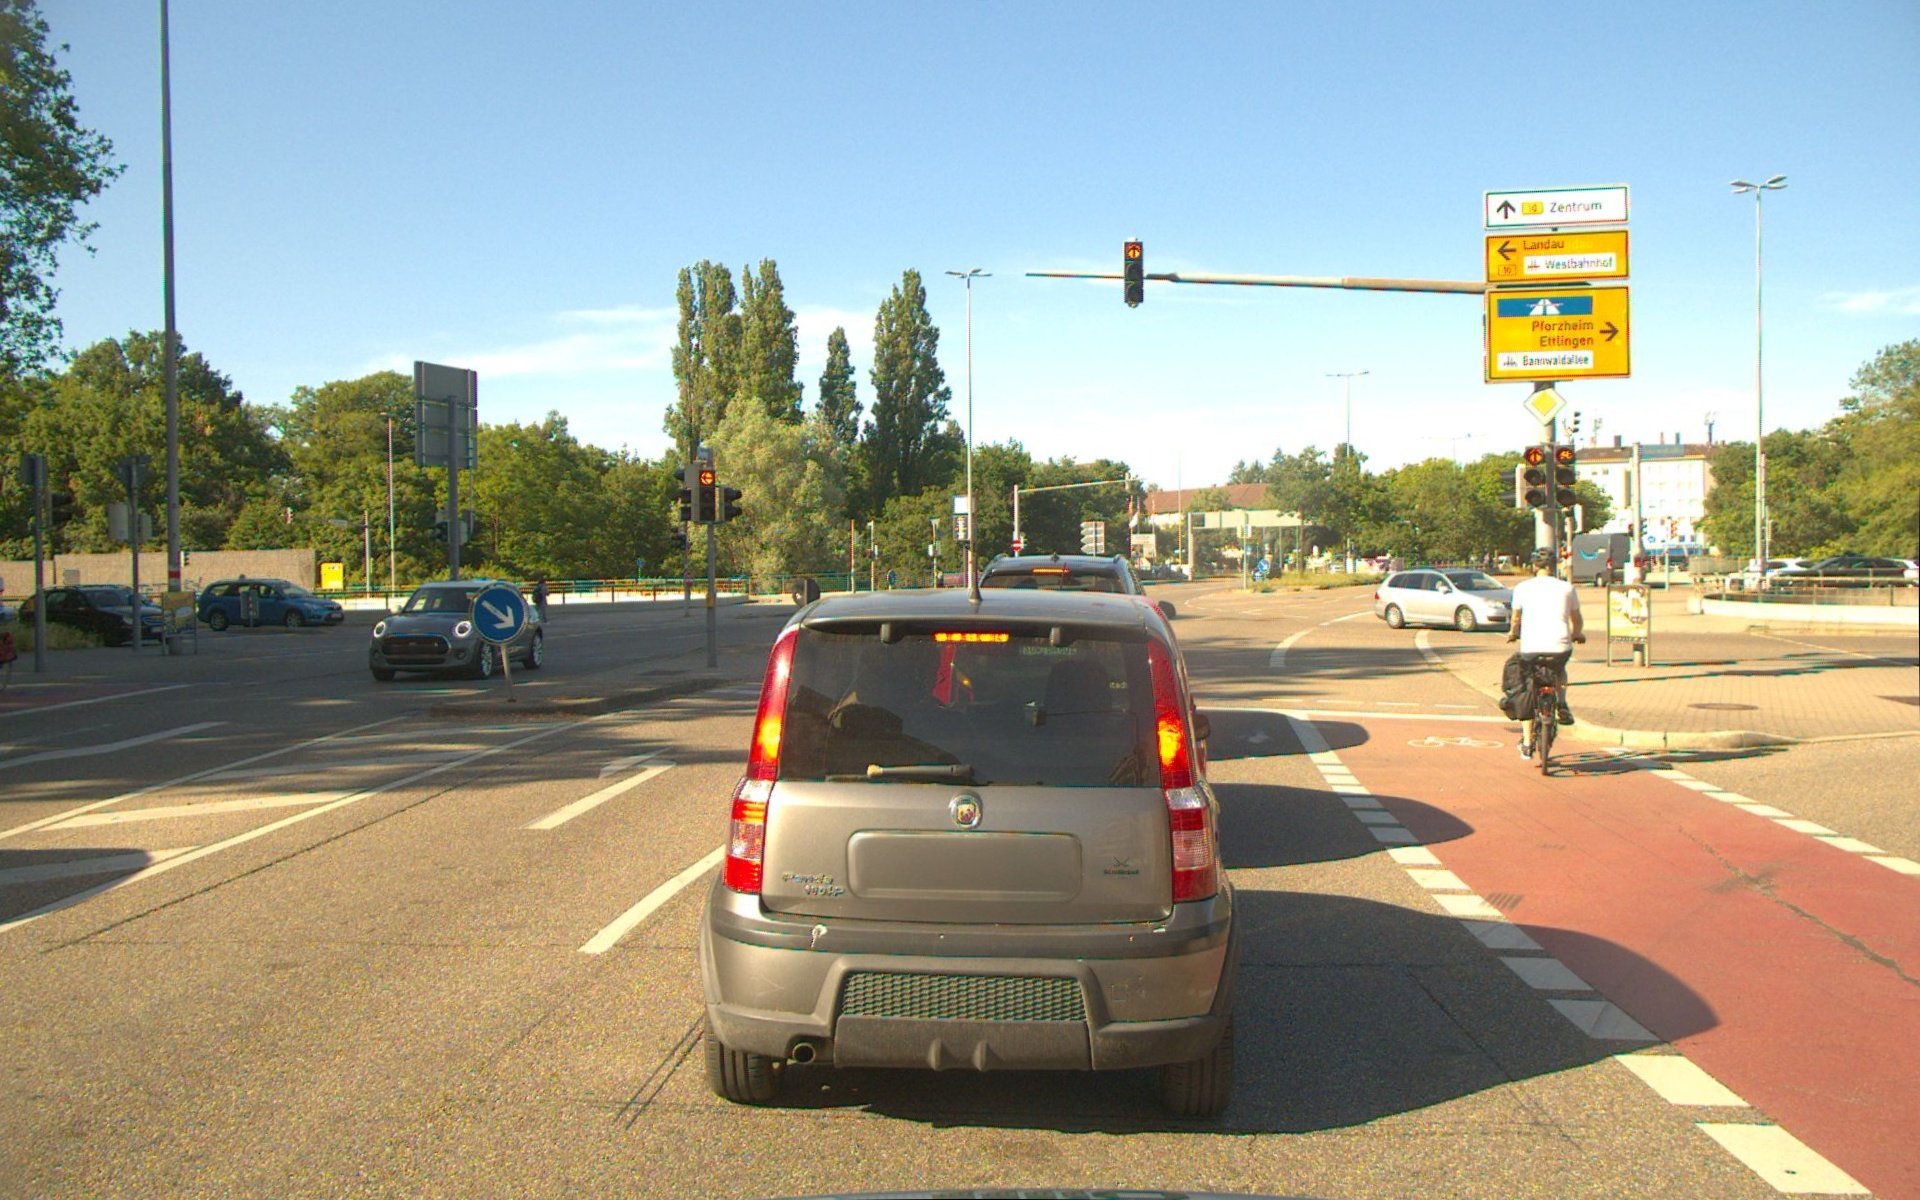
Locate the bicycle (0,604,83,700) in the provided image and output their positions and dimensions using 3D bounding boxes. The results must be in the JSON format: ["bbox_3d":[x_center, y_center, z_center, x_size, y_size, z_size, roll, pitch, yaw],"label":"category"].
[{"bbox_3d":[-12.907,0.695,22.266,0.672,1.223,2.329,-1,1,9],"label":"bicycle"}]

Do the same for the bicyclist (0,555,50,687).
[{"bbox_3d":[-12.929,0.274,22.160,0.672,1.731,1.199,-1,1,9],"label":"bicyclist"}]

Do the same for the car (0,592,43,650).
[{"bbox_3d":[-26.401,0.563,43.288,4.345,1.464,1.826,-1,1,22],"label":"car"}]

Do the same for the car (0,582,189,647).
[{"bbox_3d":[-21.006,0.355,39.940,4.345,1.464,1.826,-1,1,22],"label":"car"}]

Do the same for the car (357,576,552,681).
[{"bbox_3d":[-7.767,0.382,25.785,1.651,1.482,3.915,-1,1,3],"label":"car"}]

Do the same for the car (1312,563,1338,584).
[{"bbox_3d":[37.895,-2.743,171.632,1.971,1.887,4.887,0,-2,19],"label":"car"}]

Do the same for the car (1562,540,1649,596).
[{"bbox_3d":[32.683,-1.581,83.877,2.209,2.653,4.881,0,-1,-4],"label":"car"}]

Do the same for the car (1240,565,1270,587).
[{"bbox_3d":[28.012,-2.298,156.940,1.972,1.887,4.430,0,-2,22],"label":"car"}]

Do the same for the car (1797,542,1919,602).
[{"bbox_3d":[33.211,-0.997,60.959,3.922,2.049,1.991,-1,-2,38],"label":"car"}]

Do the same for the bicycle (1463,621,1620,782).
[{"bbox_3d":[4.940,0.797,13.950,0.785,1.130,2.397,1,2,31],"label":"bicycle"}]

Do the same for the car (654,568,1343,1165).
[{"bbox_3d":[0.192,0.672,6.377,1.782,1.515,4.002,2,1,3],"label":"car"}]

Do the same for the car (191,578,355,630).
[{"bbox_3d":[-20.698,0.112,49.878,4.342,1.464,1.827,-1,1,16],"label":"car"}]

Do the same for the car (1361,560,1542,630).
[{"bbox_3d":[11.643,-0.167,39.472,1.729,1.519,4.313,-1,2,-26],"label":"car"}]

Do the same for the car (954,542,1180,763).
[{"bbox_3d":[1.182,0.394,16.128,1.829,1.821,4.418,1,1,8],"label":"car"}]

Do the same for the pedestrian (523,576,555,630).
[{"bbox_3d":[-13.219,0.103,51.973,0.673,1.565,1.365,0,-5,-3],"label":"pedestrian"}]

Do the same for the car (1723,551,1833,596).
[{"bbox_3d":[35.588,-1.142,72.046,1.967,1.781,3.969,1,-2,-24],"label":"car"}]

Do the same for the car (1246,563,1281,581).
[{"bbox_3d":[28.213,-2.594,153.565,1.973,1.572,4.883,0,1,25],"label":"car"}]

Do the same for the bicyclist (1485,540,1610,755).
[{"bbox_3d":[4.986,0.366,14.010,0.785,1.734,1.083,1,2,31],"label":"bicyclist"}]

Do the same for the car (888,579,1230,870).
[{"bbox_3d":[0.594,0.642,10.740,1.782,1.505,4.001,1,0,2],"label":"car"}]
